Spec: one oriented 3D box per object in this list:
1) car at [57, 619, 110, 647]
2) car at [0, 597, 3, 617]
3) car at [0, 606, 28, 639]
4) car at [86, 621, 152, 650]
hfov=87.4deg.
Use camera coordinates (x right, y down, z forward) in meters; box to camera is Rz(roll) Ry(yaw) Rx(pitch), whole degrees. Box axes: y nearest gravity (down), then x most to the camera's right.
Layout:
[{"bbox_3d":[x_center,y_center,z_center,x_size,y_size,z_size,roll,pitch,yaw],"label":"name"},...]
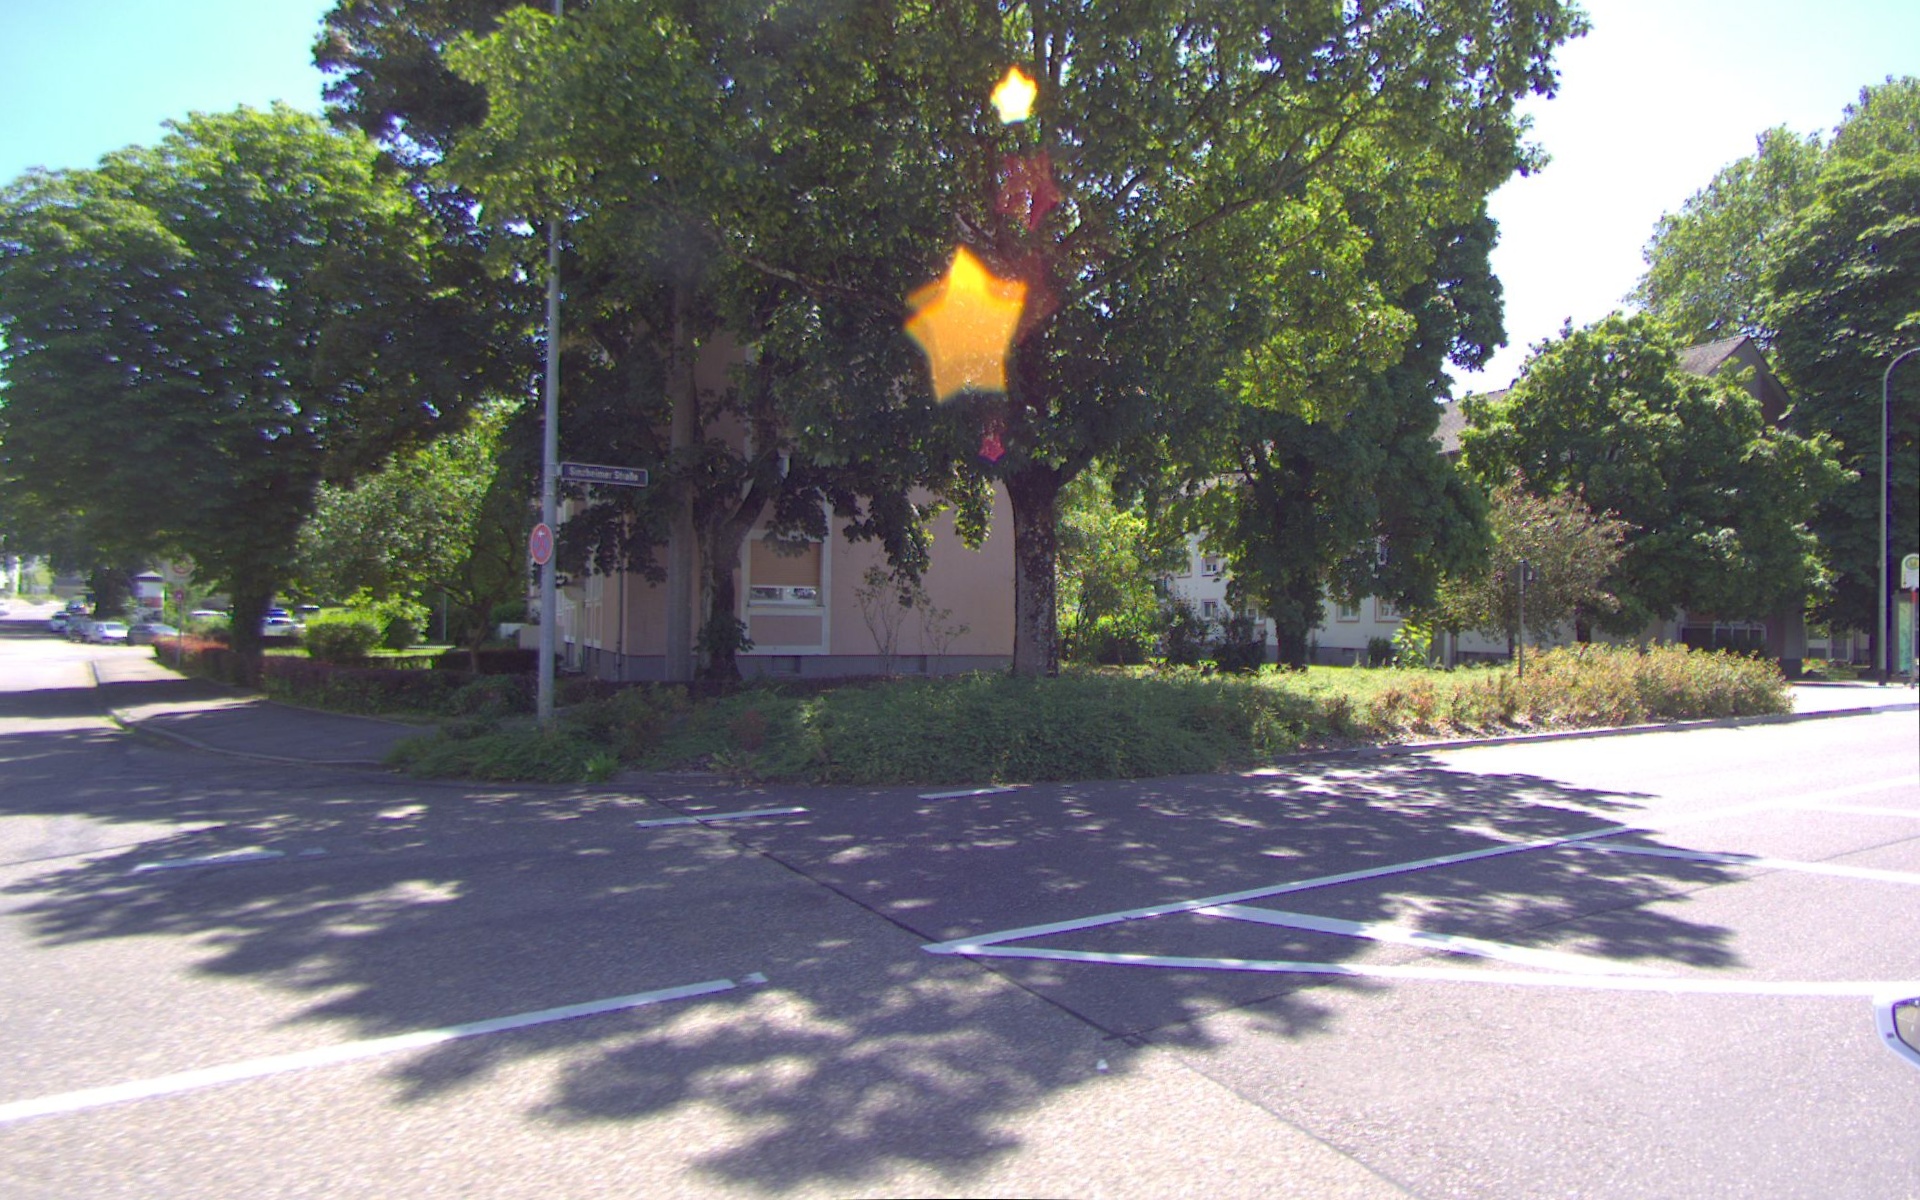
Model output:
[{"bbox_3d":[-58.128,2.170,66.621,3.936,1.729,1.910,1,0,38],"label":"car"},{"bbox_3d":[-90.845,0.642,93.871,1.987,1.766,3.947,1,0,-45],"label":"car"},{"bbox_3d":[-54.989,1.272,57.384,1.980,1.766,3.960,1,0,-35],"label":"car"},{"bbox_3d":[-54.045,2.249,64.561,3.928,1.668,2.006,1,0,29],"label":"car"}]
